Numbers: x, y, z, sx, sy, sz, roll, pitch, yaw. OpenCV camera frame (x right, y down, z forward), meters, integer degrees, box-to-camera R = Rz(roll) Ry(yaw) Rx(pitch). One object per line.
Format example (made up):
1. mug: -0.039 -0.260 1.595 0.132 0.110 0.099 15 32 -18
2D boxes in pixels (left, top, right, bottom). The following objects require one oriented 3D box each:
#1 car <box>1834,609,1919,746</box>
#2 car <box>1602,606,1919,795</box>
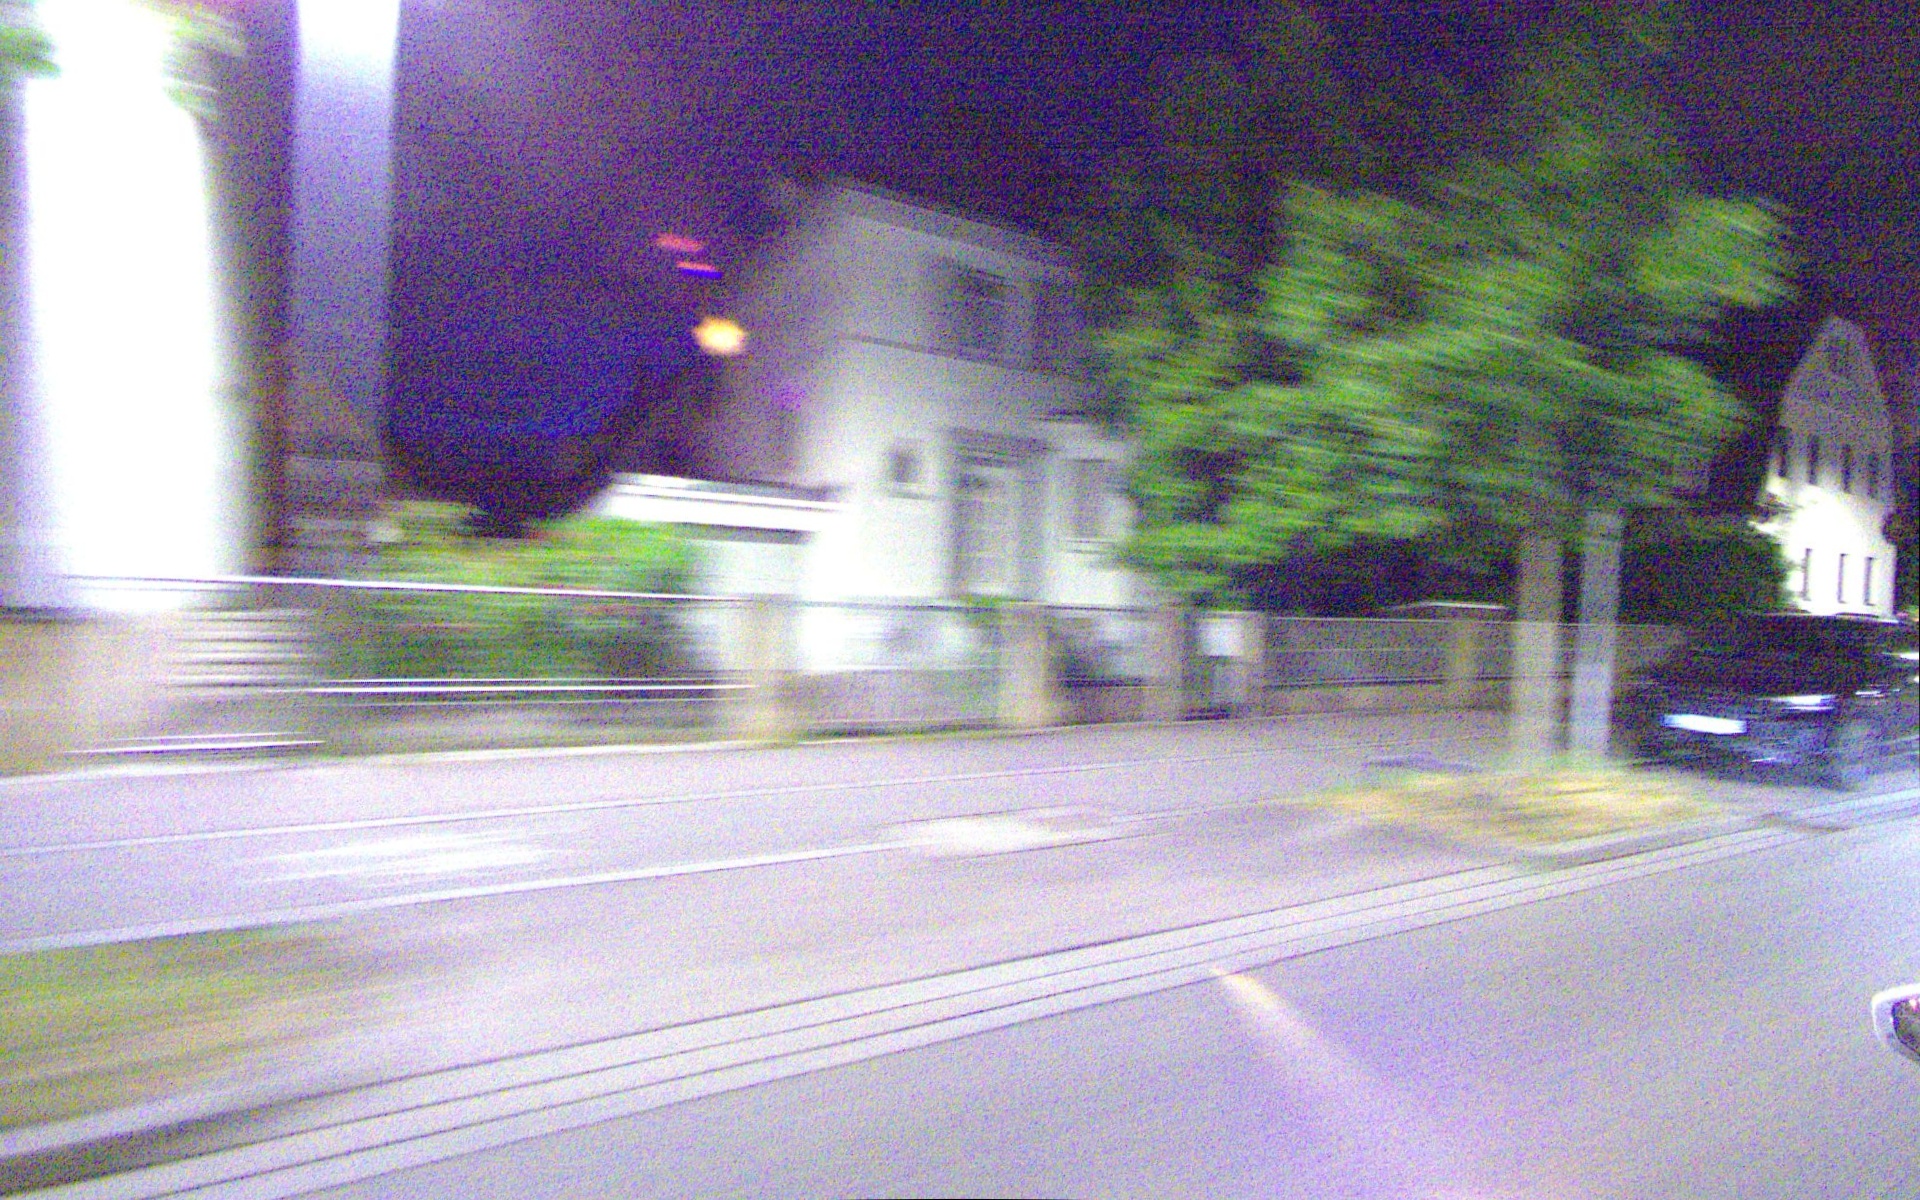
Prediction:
1. car: 12.911 0.964 12.510 4.229 1.539 1.757 2 2 -31
2. car: 8.514 0.889 10.112 4.228 1.530 1.680 2 1 -30
